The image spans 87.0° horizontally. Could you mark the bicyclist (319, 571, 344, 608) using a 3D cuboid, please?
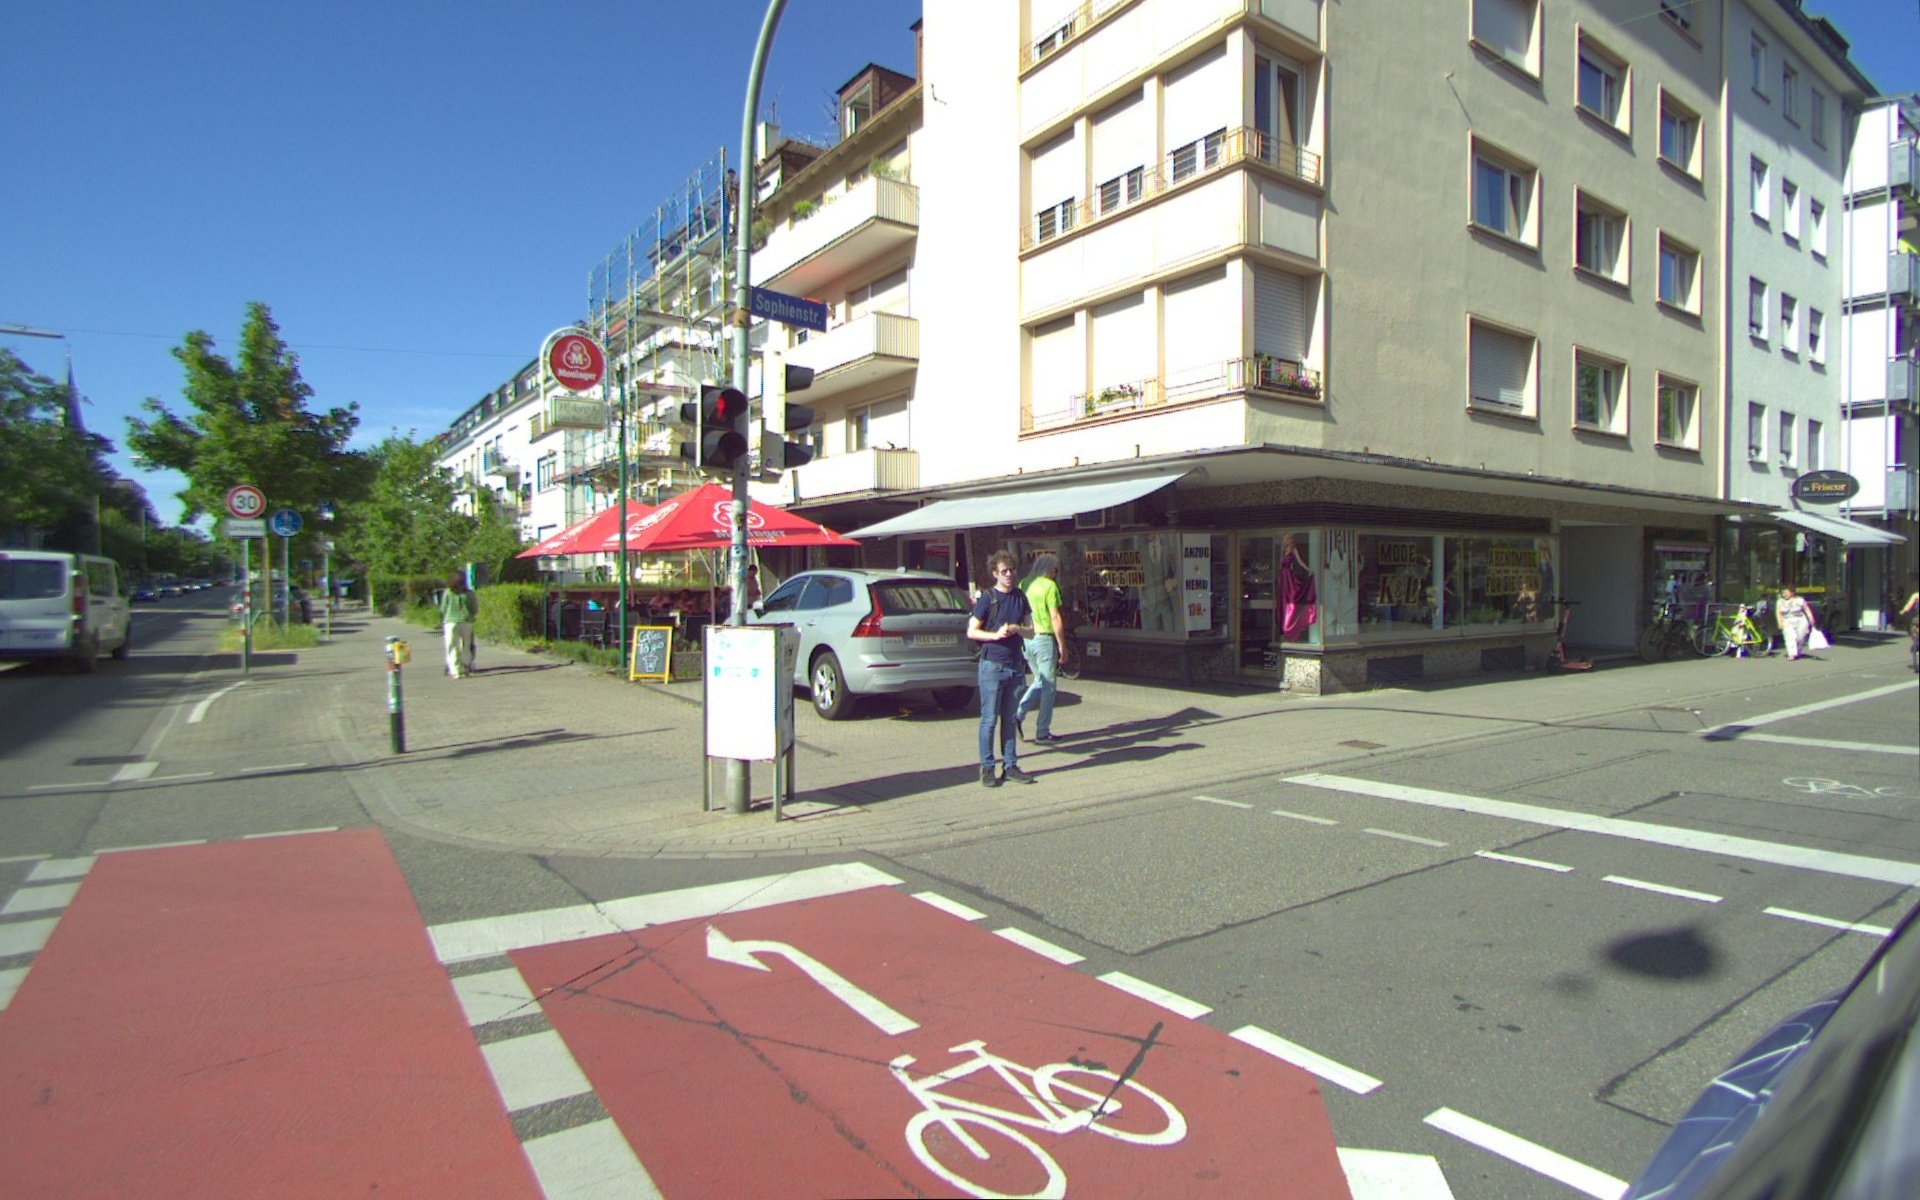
[{"bbox_3d":[-23.560,-0.397,37.909,0.643,1.381,0.882,-1,1,-42],"label":"bicyclist"}]

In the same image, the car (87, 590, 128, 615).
[{"bbox_3d":[-51.777,0.099,61.522,1.654,1.429,3.521,-1,1,-36],"label":"car"}]

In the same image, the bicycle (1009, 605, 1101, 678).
[{"bbox_3d":[1.448,0.611,15.784,0.556,1.030,1.899,0,1,-24],"label":"bicycle"}]

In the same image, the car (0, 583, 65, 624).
[{"bbox_3d":[-35.378,0.104,38.218,1.835,1.393,4.000,-2,2,-35],"label":"car"}]

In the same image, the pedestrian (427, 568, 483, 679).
[{"bbox_3d":[-7.659,0.333,15.360,0.634,1.638,0.594,-1,1,-40],"label":"pedestrian"}]

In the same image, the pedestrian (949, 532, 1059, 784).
[{"bbox_3d":[0.347,0.417,7.857,0.626,1.845,0.597,0,1,40],"label":"pedestrian"}]

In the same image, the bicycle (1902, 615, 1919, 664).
[{"bbox_3d":[17.418,0.692,17.968,1.675,0.816,0.583,-1,1,-31],"label":"bicycle"}]

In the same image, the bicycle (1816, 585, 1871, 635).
[{"bbox_3d":[22.060,0.236,25.251,1.740,1.157,0.599,-1,4,-36],"label":"bicycle"}]

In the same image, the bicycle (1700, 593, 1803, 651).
[{"bbox_3d":[15.942,0.419,20.431,1.478,1.120,0.718,0,1,23],"label":"bicycle"}]

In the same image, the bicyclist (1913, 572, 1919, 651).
[{"bbox_3d":[17.415,0.199,17.960,0.651,1.394,0.583,-1,1,-31],"label":"bicyclist"}]

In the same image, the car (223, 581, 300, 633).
[{"bbox_3d":[-19.678,0.151,28.512,1.682,1.331,4.000,-1,1,-35],"label":"car"}]

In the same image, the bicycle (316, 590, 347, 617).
[{"bbox_3d":[-23.550,0.127,37.912,0.643,0.962,2.001,-1,1,-42],"label":"bicycle"}]

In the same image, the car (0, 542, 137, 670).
[{"bbox_3d":[-15.953,0.108,17.587,1.936,1.964,5.058,-1,0,-32],"label":"car"}]

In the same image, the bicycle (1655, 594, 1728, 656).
[{"bbox_3d":[13.961,0.458,19.311,1.764,1.098,0.408,-1,3,-31],"label":"bicycle"}]

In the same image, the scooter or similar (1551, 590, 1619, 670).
[{"bbox_3d":[10.221,0.466,16.546,1.205,1.240,0.527,-1,1,-36],"label":"scooter or similar"}]

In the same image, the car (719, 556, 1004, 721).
[{"bbox_3d":[-1.376,0.342,12.493,1.791,1.683,4.000,-1,1,-35],"label":"car"}]

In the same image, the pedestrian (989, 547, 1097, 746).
[{"bbox_3d":[0.780,0.406,9.539,0.748,1.780,0.664,-1,0,-30],"label":"pedestrian"}]

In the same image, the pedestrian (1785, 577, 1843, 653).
[{"bbox_3d":[16.886,0.275,20.018,0.614,1.460,0.775,-1,1,-40],"label":"pedestrian"}]

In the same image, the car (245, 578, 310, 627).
[{"bbox_3d":[-22.314,0.036,33.064,1.681,1.471,4.000,-1,1,-35],"label":"car"}]
